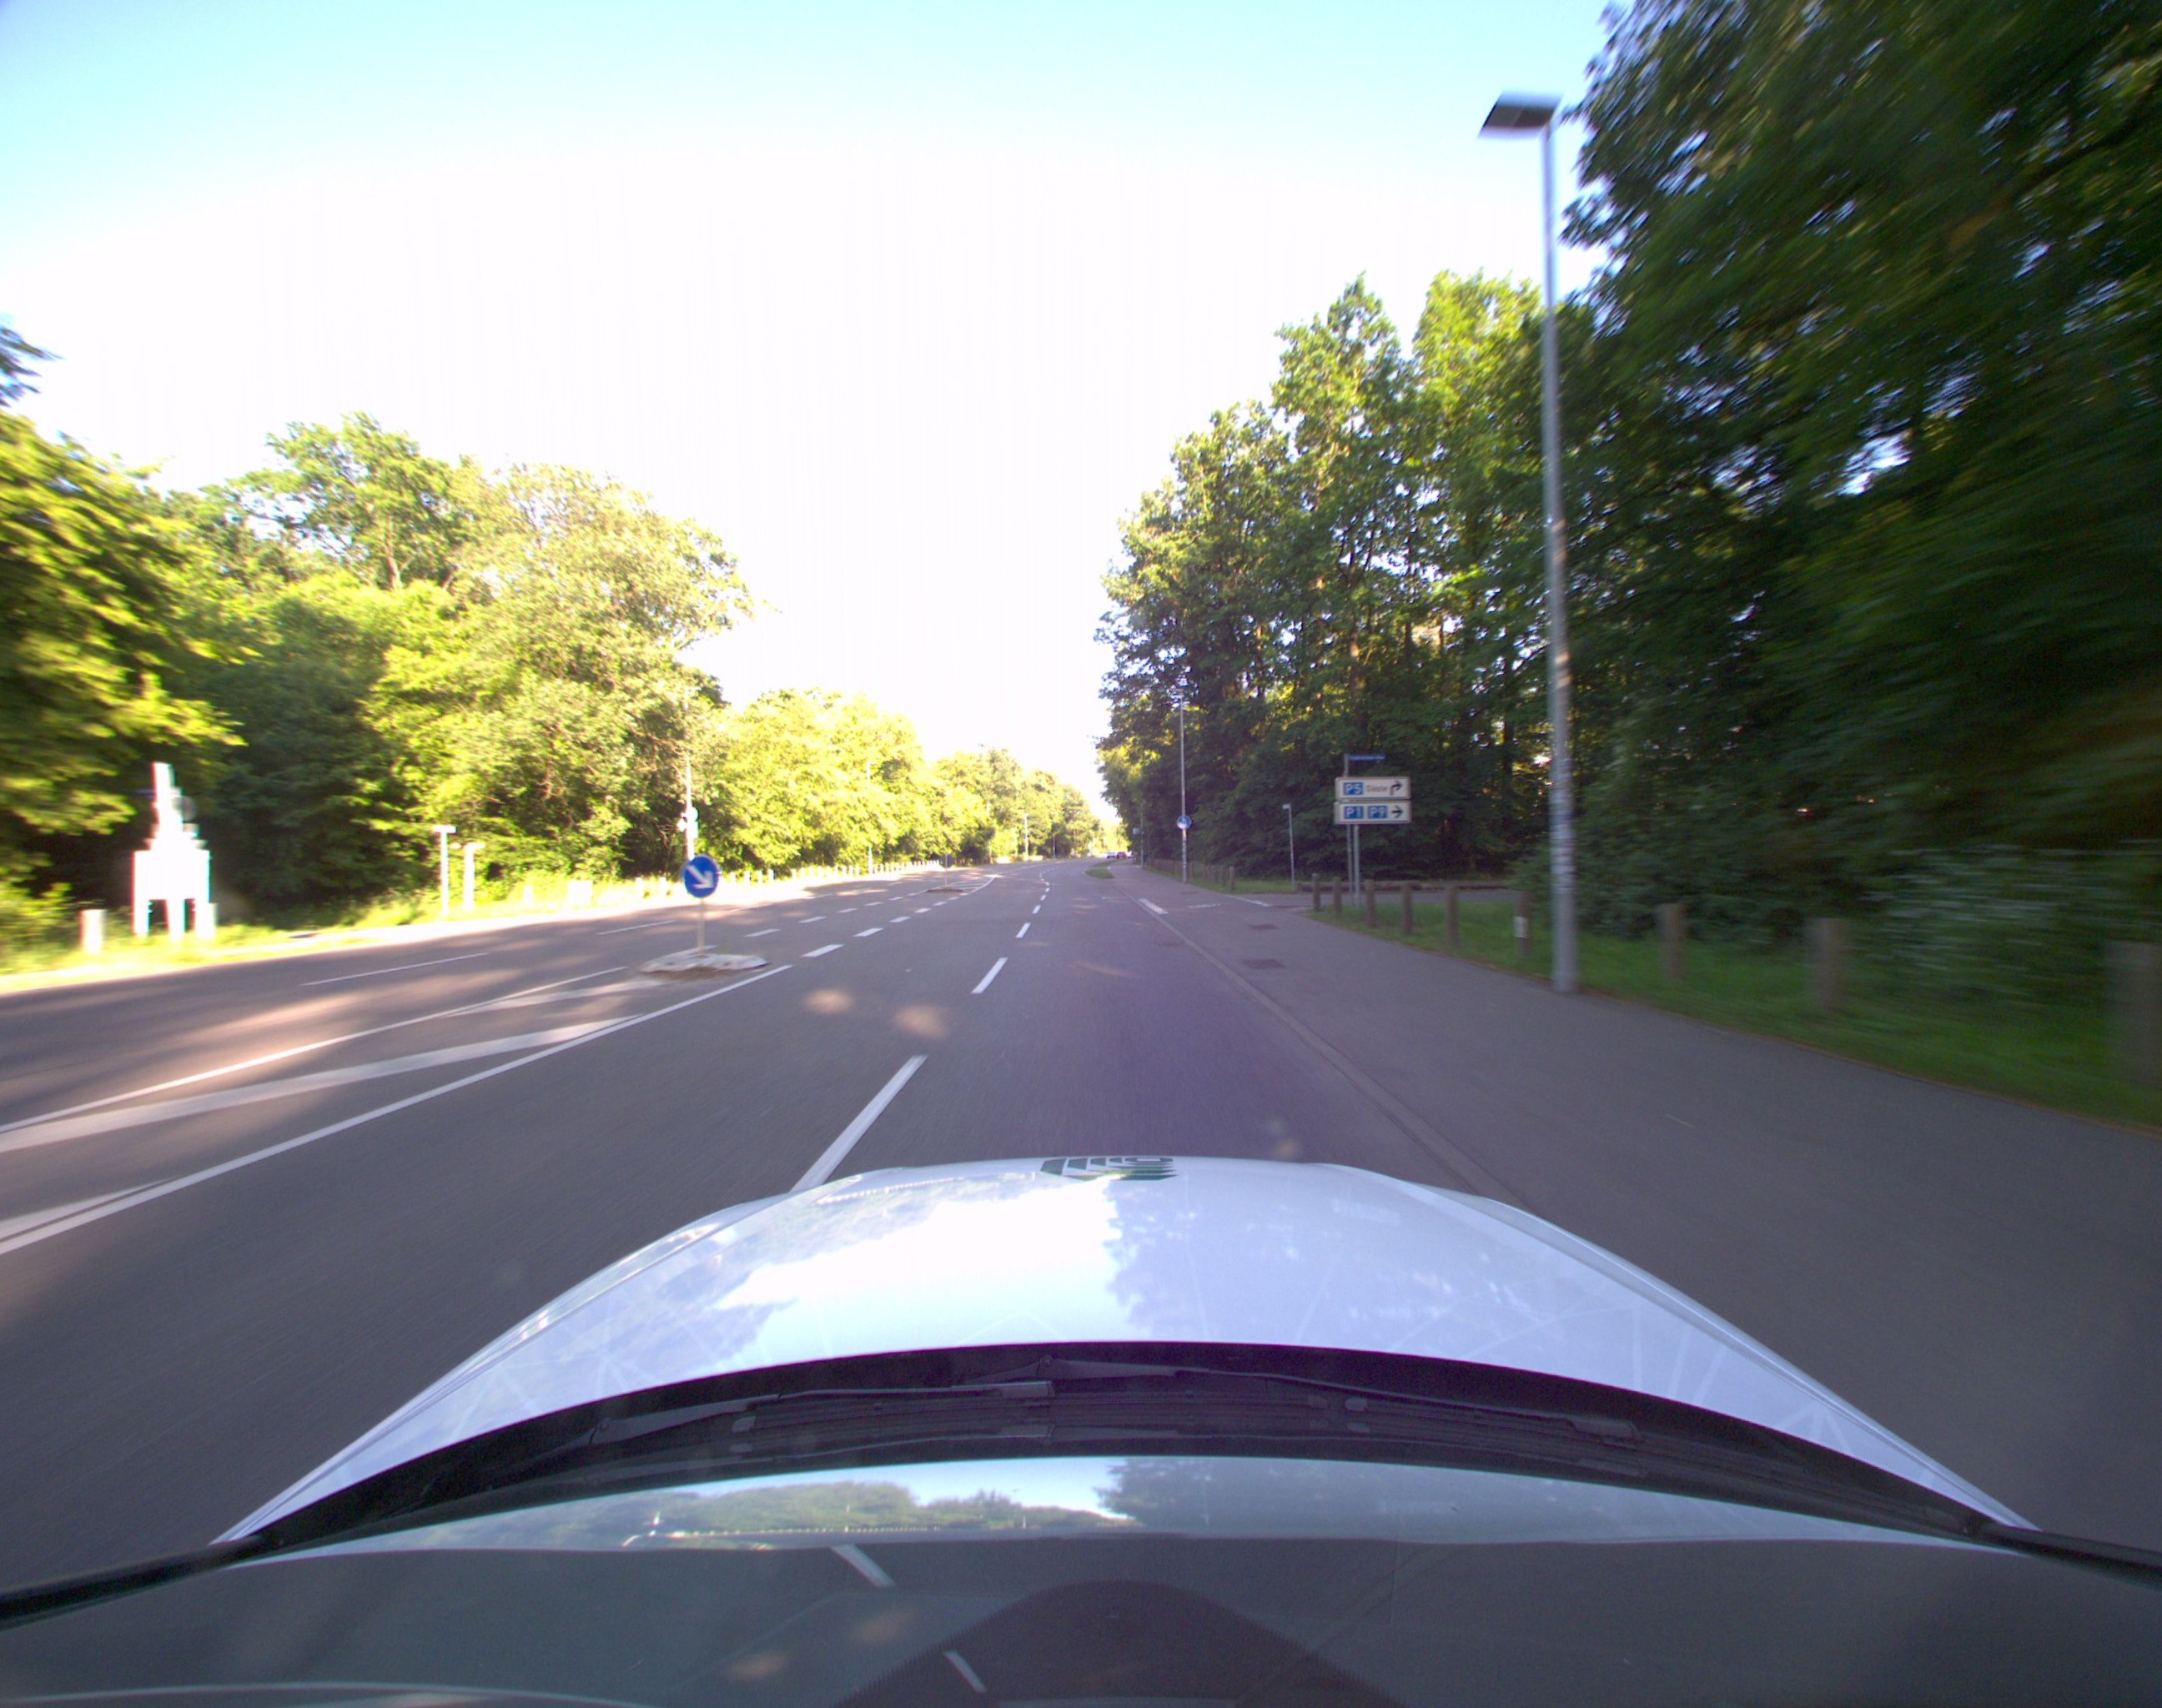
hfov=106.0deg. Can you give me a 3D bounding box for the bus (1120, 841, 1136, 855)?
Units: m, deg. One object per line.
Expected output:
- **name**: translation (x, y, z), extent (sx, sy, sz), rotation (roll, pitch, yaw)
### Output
- **bus**: translation (11.381, -1.439, 194.996), extent (2.588, 3.368, 8.002), rotation (0, 0, 12)

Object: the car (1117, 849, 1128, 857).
- **car**: translation (9.090, -0.180, 178.540), extent (1.867, 1.765, 4.013), rotation (-1, 0, 12)

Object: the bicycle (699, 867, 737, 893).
- **bicycle**: translation (-16.552, 1.160, 37.157), extent (0.399, 1.132, 2.225), rotation (1, 0, 9)

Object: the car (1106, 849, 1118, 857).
- **car**: translation (6.962, -0.139, 183.737), extent (1.867, 1.709, 4.013), rotation (-1, 0, 12)
